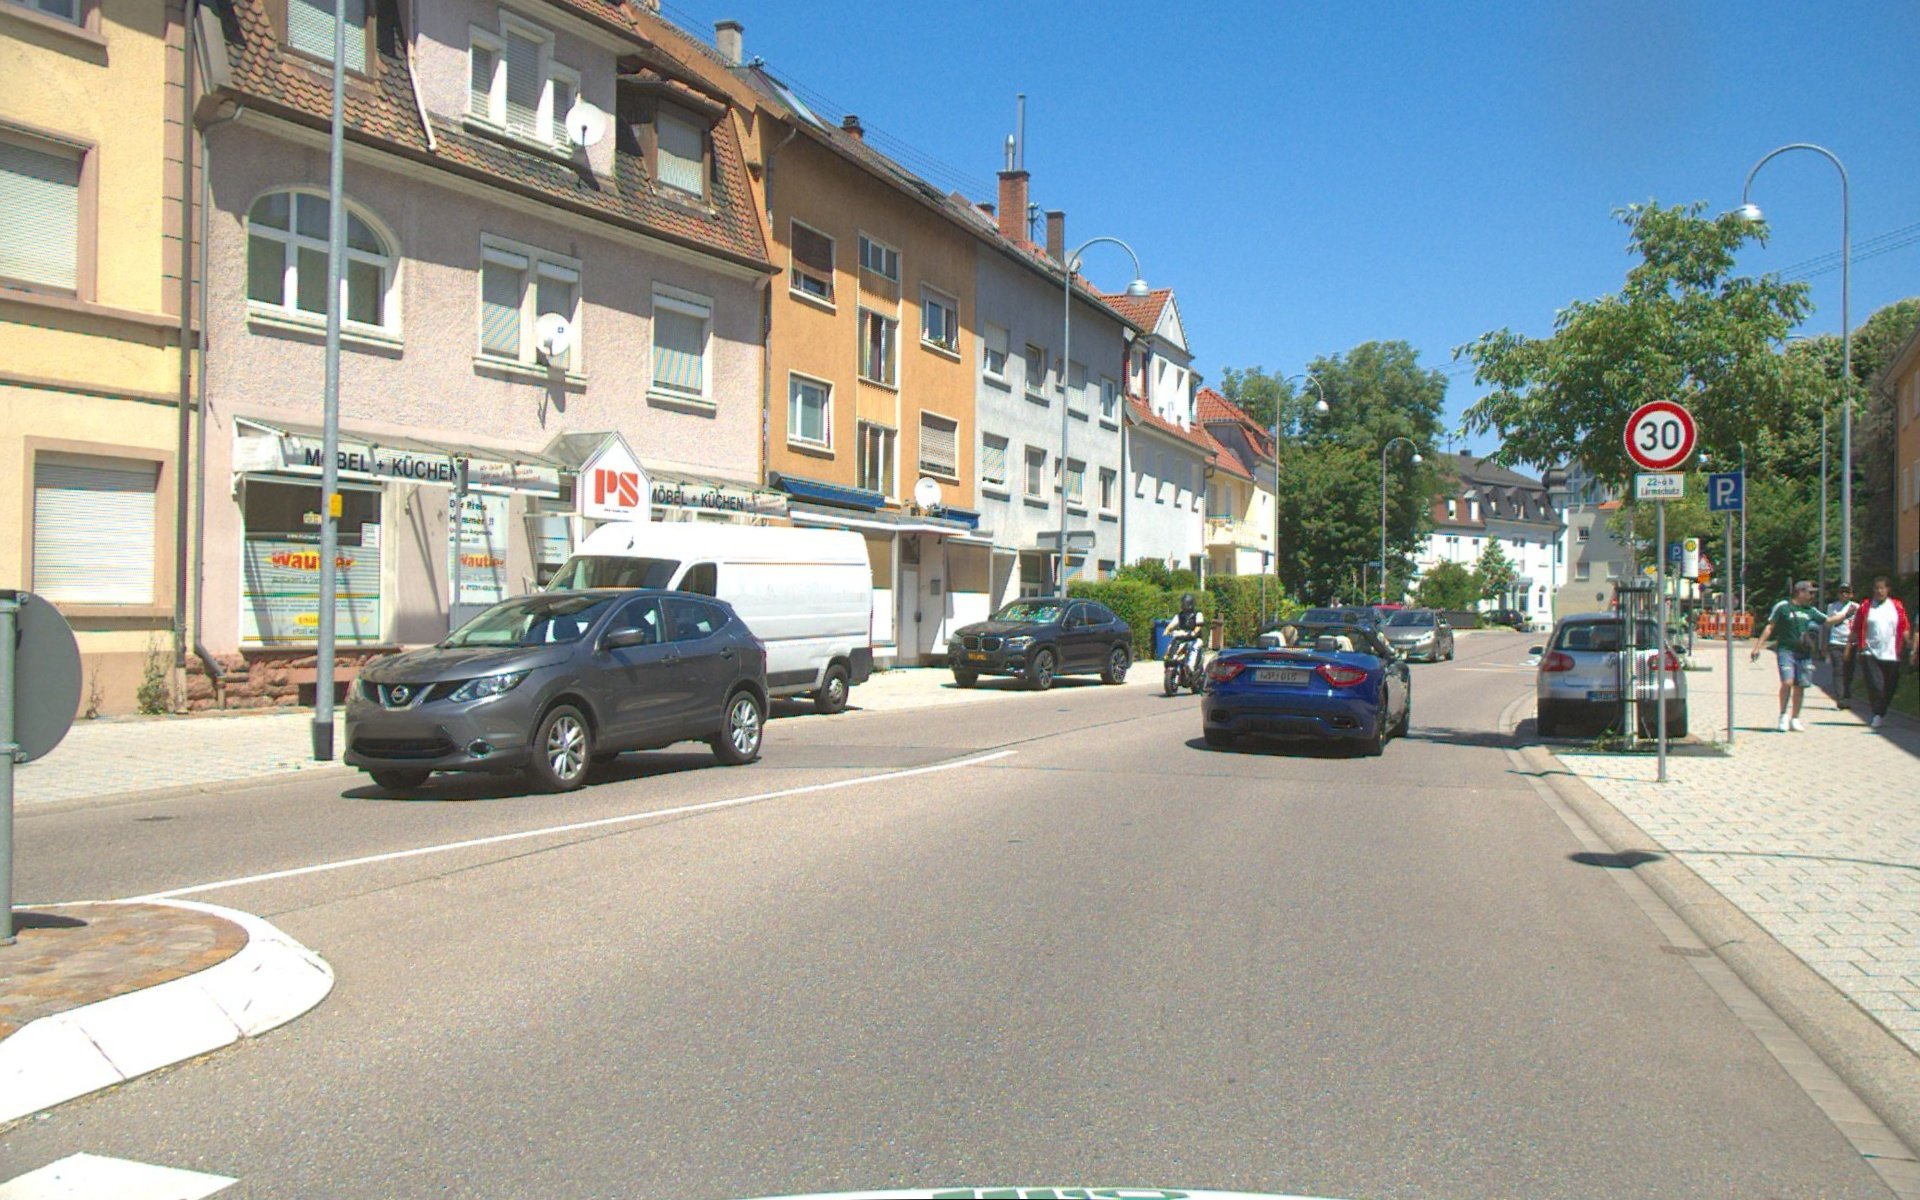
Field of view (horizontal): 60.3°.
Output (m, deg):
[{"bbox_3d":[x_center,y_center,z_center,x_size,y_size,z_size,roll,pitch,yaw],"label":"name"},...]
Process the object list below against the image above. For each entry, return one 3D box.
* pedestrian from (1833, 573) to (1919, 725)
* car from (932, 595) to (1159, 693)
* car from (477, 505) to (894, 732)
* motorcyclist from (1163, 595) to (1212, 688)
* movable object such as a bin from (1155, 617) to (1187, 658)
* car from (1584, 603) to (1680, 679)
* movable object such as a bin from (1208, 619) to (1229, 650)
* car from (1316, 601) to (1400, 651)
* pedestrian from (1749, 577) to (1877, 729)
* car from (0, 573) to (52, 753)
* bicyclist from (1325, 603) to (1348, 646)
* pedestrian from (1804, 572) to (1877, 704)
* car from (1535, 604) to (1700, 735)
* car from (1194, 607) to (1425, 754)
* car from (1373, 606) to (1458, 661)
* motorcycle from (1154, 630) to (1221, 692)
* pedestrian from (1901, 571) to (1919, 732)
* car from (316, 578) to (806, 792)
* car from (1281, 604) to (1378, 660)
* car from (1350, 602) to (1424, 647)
[{"bbox_3d":[11.496,0.610,20.746,0.771,1.843,1.006,-2,-1,20],"label":"pedestrian"},{"bbox_3d":[1.737,0.771,31.469,2.048,1.642,5.094,2,1,33],"label":"car"},{"bbox_3d":[-3.293,0.197,21.532,2.078,2.492,6.110,2,1,27],"label":"car"},{"bbox_3d":[3.899,0.703,28.285,0.589,1.551,0.895,0,-1,26],"label":"motorcyclist"},{"bbox_3d":[5.562,0.972,43.551,0.659,1.066,0.652,-1,-1,24],"label":"movable object such as a bin"},{"bbox_3d":[14.914,0.869,36.603,1.796,1.530,5.061,-2,-1,23],"label":"car"},{"bbox_3d":[7.842,1.033,50.197,0.484,0.928,0.705,0,0,24],"label":"movable object such as a bin"},{"bbox_3d":[13.408,0.839,55.484,1.826,1.487,5.305,2,1,23],"label":"car"},{"bbox_3d":[10.323,0.646,20.082,1.147,1.763,1.191,-3,-2,19],"label":"pedestrian"},{"bbox_3d":[-9.893,0.527,13.443,1.760,1.568,4.109,2,0,28],"label":"car"},{"bbox_3d":[14.716,0.955,64.692,0.766,1.688,0.835,0,-1,22],"label":"bicyclist"},{"bbox_3d":[12.908,0.553,24.266,0.803,1.886,0.984,0,-1,20],"label":"pedestrian"},{"bbox_3d":[8.424,0.855,21.434,1.775,1.503,4.507,-1,-1,20],"label":"car"},{"bbox_3d":[4.026,0.836,18.467,1.832,1.366,4.596,2,-1,20],"label":"car"},{"bbox_3d":[12.849,0.921,46.548,1.696,1.436,3.998,-2,0,24],"label":"car"},{"bbox_3d":[3.907,1.022,28.275,0.594,1.018,1.797,0,-1,26],"label":"motorcycle"},{"bbox_3d":[11.355,0.583,19.000,0.777,1.810,1.009,0,-1,20],"label":"pedestrian"},{"bbox_3d":[-3.162,0.667,14.089,1.759,1.515,4.388,-2,-2,24],"label":"car"},{"bbox_3d":[11.153,0.928,49.698,1.754,1.484,4.192,3,2,28],"label":"car"},{"bbox_3d":[15.771,0.864,60.910,1.840,1.505,4.735,3,1,24],"label":"car"}]
